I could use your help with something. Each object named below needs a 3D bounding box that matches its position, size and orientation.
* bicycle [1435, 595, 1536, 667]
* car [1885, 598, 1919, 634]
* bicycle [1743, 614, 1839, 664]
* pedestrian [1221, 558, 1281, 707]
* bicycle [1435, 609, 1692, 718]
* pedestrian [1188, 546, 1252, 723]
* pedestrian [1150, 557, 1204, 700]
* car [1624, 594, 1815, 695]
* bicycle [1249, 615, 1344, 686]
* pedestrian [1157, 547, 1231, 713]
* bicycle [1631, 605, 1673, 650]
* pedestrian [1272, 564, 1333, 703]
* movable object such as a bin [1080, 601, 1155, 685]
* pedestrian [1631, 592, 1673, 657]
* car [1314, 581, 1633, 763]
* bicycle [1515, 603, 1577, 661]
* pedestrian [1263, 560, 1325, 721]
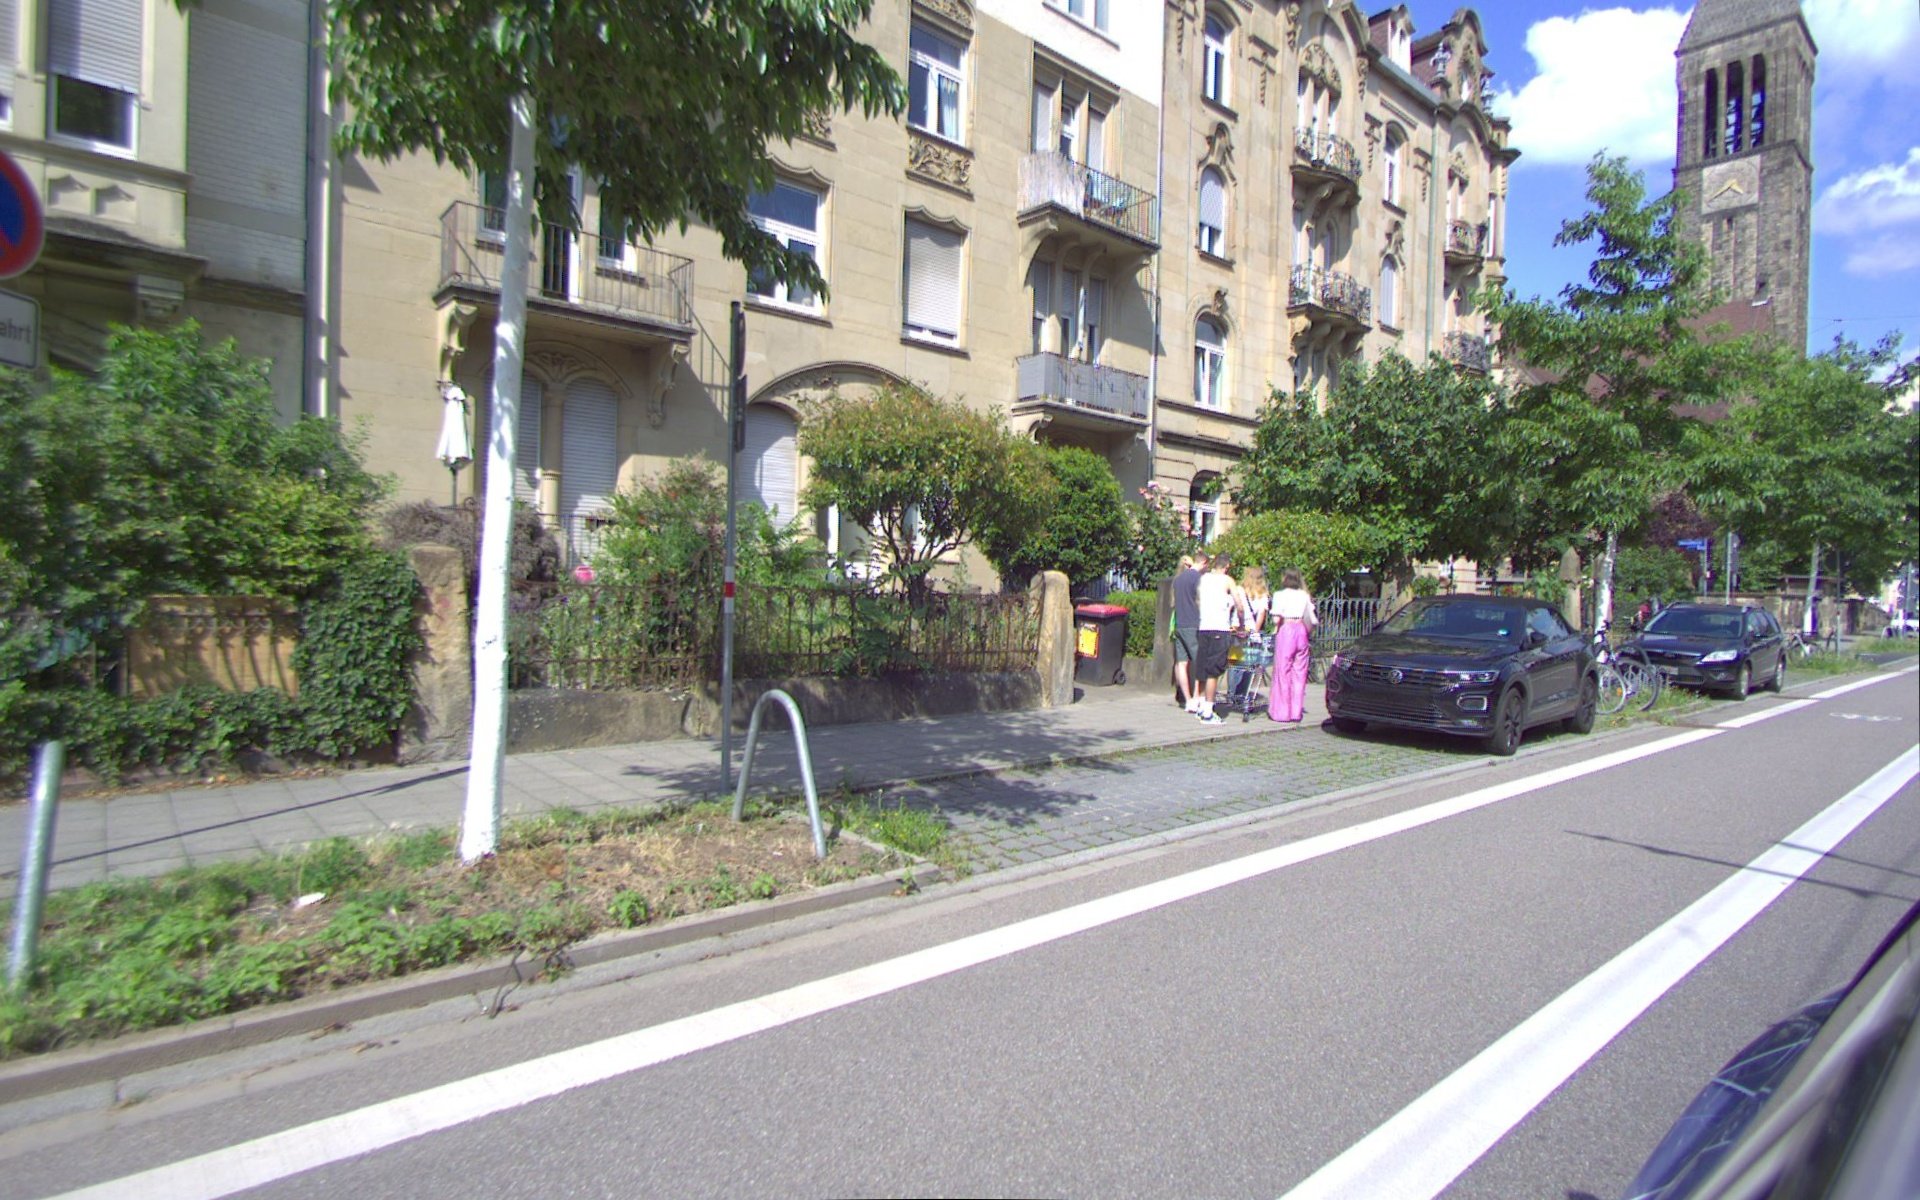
[{"bbox_3d":[10.160,0.560,19.501,2.891,1.263,0.659,0,4,-41],"label":"bicycle"},{"bbox_3d":[39.739,0.650,41.560,3.768,1.434,1.674,1,-1,-33],"label":"car"},{"bbox_3d":[19.661,0.909,23.973,1.706,1.083,0.464,2,1,44],"label":"bicycle"},{"bbox_3d":[3.519,0.373,12.228,0.499,1.727,0.491,4,2,31],"label":"pedestrian"},{"bbox_3d":[8.182,0.807,13.837,2.939,1.262,0.782,2,1,37],"label":"bicycle"},{"bbox_3d":[2.757,0.352,10.749,0.314,1.826,0.460,1,3,-42],"label":"pedestrian"},{"bbox_3d":[2.699,0.339,12.568,0.423,1.727,0.385,1,3,-41],"label":"pedestrian"},{"bbox_3d":[13.320,0.696,17.649,4.625,1.521,1.689,0,1,-41],"label":"car"},{"bbox_3d":[4.945,0.715,14.815,1.776,0.951,0.428,0,4,-41],"label":"bicycle"},{"bbox_3d":[2.666,0.322,11.572,0.314,1.826,0.670,1,3,-42],"label":"pedestrian"},{"bbox_3d":[18.152,0.711,26.537,1.681,1.122,0.470,0,1,-41],"label":"bicycle"},{"bbox_3d":[4.356,0.405,12.865,0.526,1.696,0.568,4,2,31],"label":"pedestrian"},{"bbox_3d":[2.150,0.567,13.818,0.761,1.070,0.609,1,3,-40],"label":"movable object such as a bin"},{"bbox_3d":[17.891,0.623,26.172,0.712,1.649,0.724,1,1,-41],"label":"pedestrian"},{"bbox_3d":[5.847,0.648,11.244,4.415,1.545,1.800,1,3,-45],"label":"car"},{"bbox_3d":[12.331,0.655,21.277,1.988,1.153,0.428,0,4,-41],"label":"bicycle"},{"bbox_3d":[3.685,0.439,11.172,0.451,1.727,0.320,2,2,-27],"label":"pedestrian"}]
